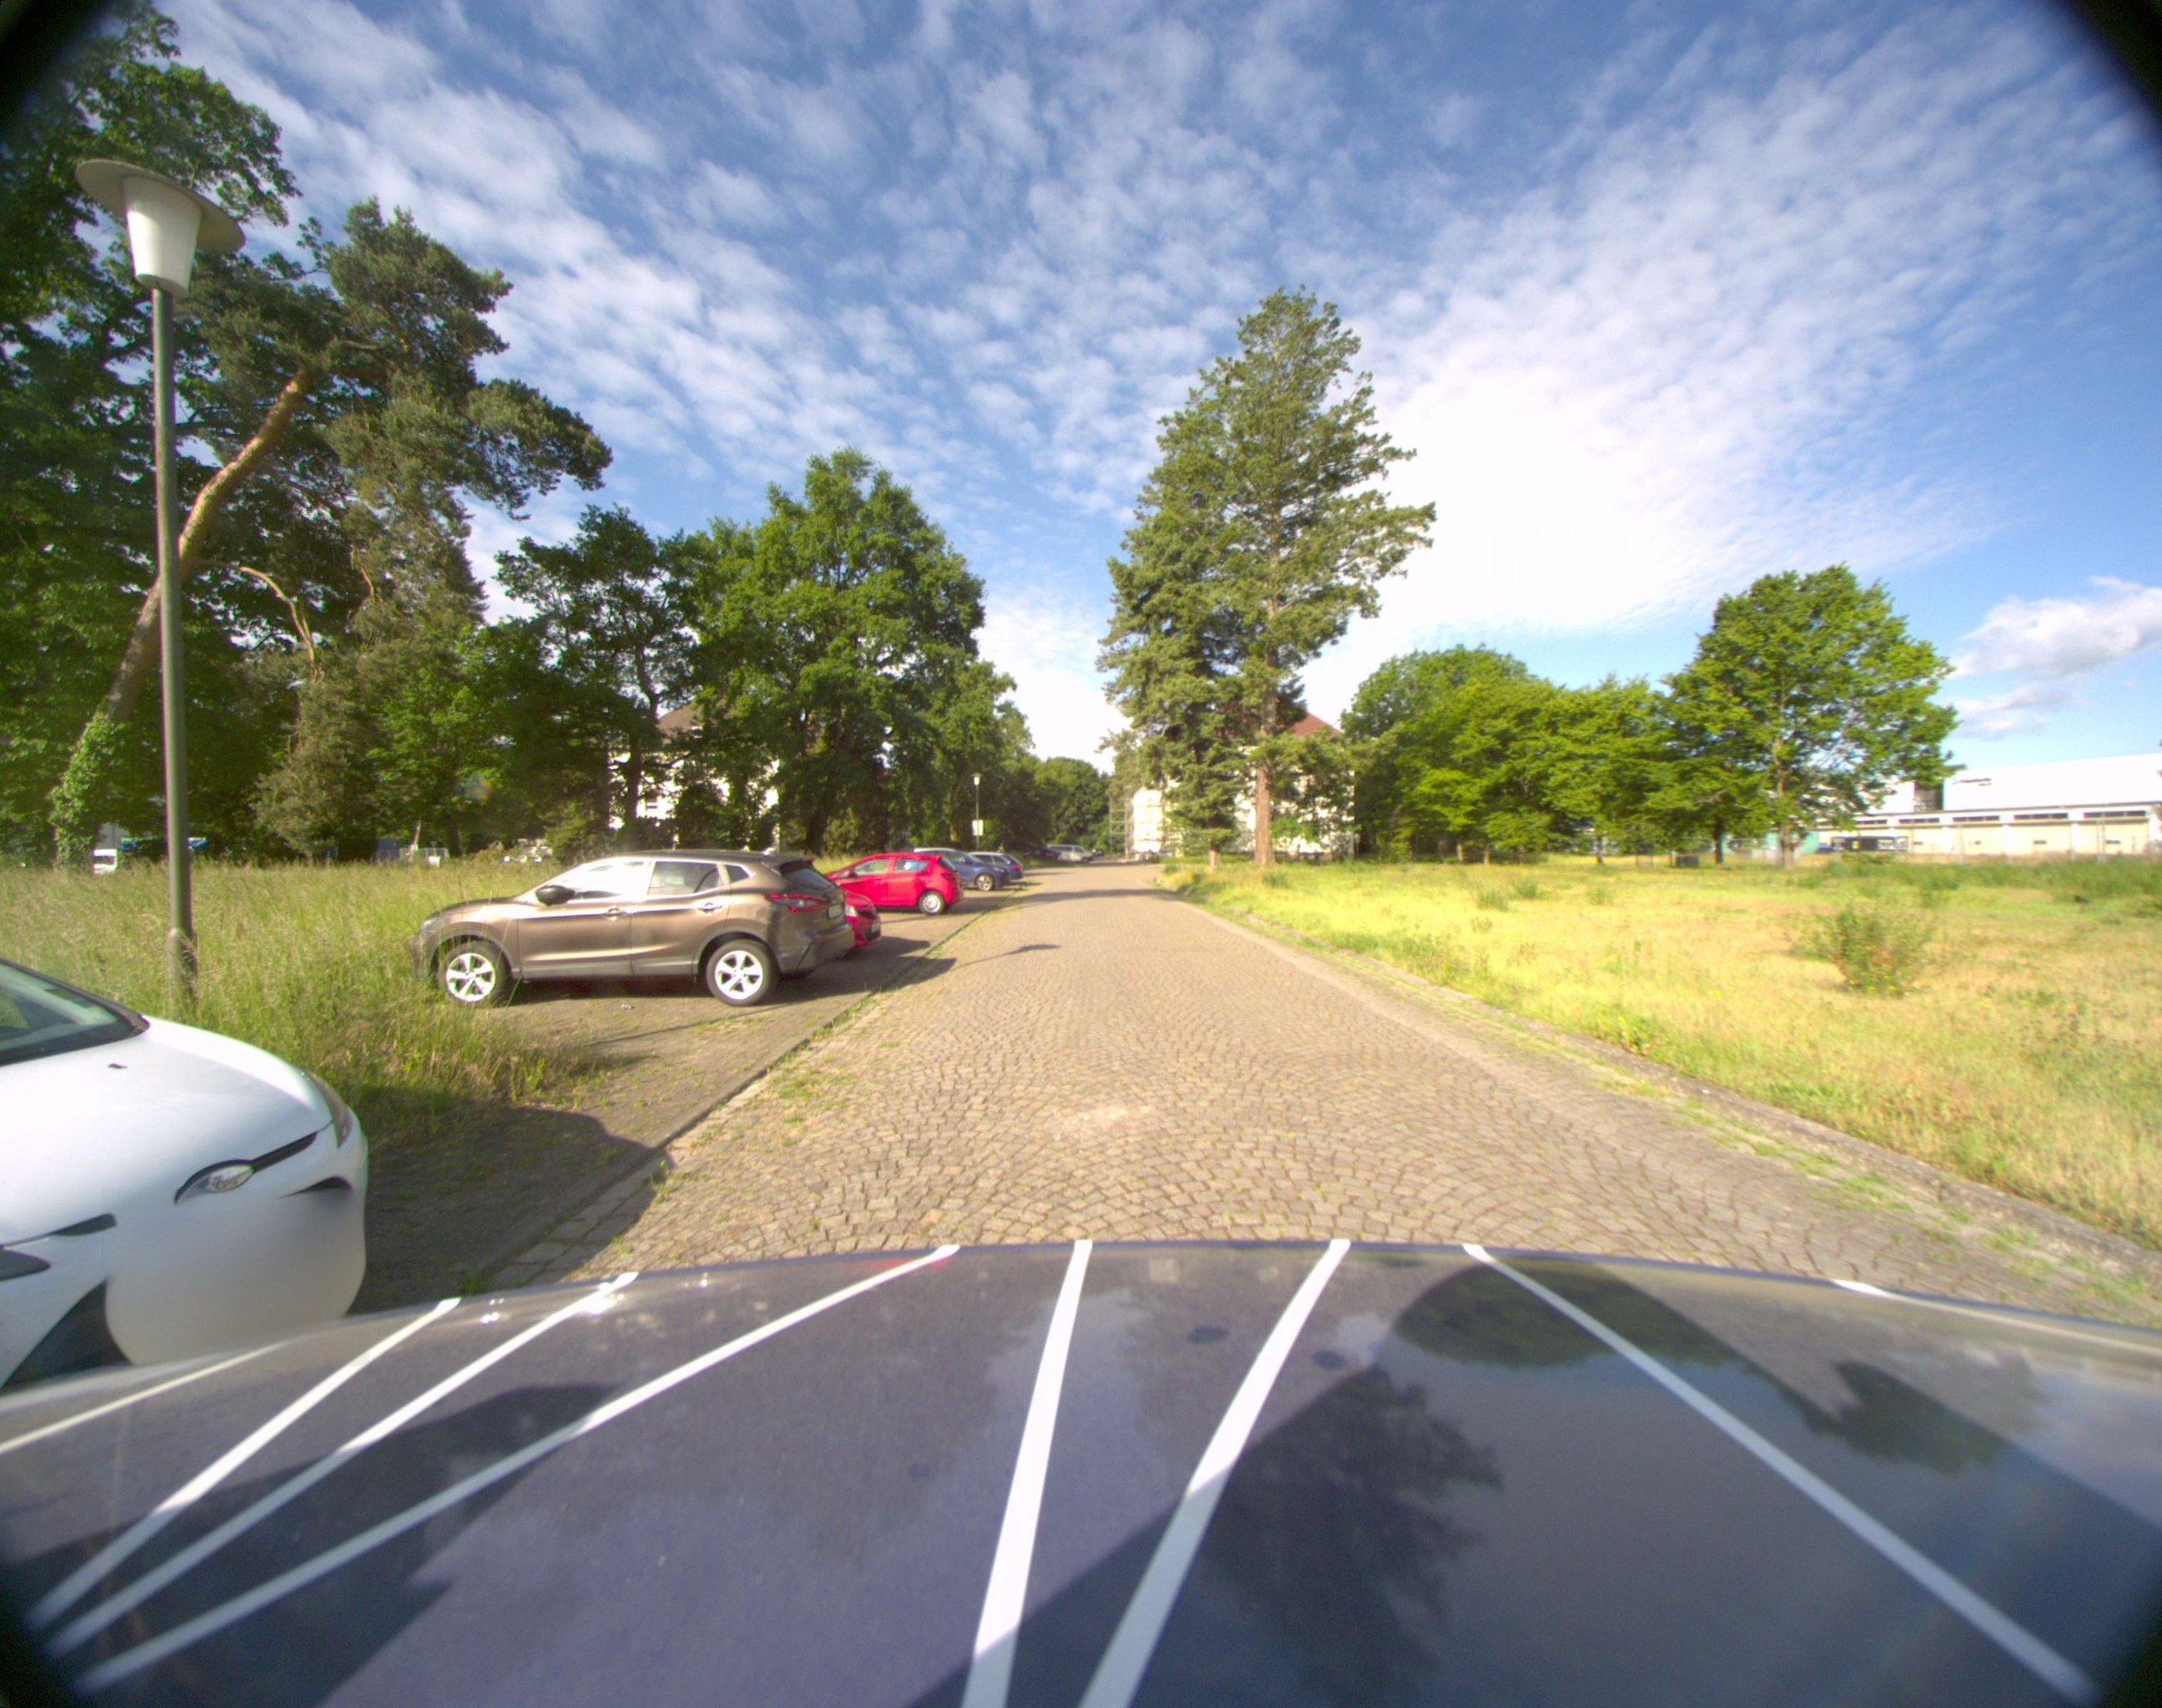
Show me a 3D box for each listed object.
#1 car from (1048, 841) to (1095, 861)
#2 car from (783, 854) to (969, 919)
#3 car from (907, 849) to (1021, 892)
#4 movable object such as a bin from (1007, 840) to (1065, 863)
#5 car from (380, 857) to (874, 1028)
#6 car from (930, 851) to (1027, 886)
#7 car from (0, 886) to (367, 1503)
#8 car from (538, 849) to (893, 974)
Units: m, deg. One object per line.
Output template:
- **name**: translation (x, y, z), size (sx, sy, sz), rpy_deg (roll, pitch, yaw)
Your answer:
- **car**: translation (-1.021, -0.335, 82.469), size (4.933, 2.002, 1.998), rpy_deg (1, 1, -6)
- **car**: translation (-4.941, 0.763, 18.780), size (4.098, 1.451, 1.852), rpy_deg (1, 0, -2)
- **car**: translation (-4.397, 0.606, 29.013), size (4.098, 1.548, 1.852), rpy_deg (1, 0, -2)
- **movable object such as a bin**: translation (-4.069, -0.240, 69.536), size (4.866, 2.002, 2.002), rpy_deg (-1, 1, 13)
- **car**: translation (-4.656, 0.861, 8.388), size (4.237, 1.589, 1.934), rpy_deg (0, 2, -3)
- **car**: translation (-4.482, 0.631, 33.694), size (4.098, 1.415, 1.784), rpy_deg (1, 0, -2)
- **car**: translation (-5.071, 0.912, 2.058), size (4.409, 1.568, 1.939), rpy_deg (1, 1, -1)
- **car**: translation (-5.085, 0.771, 11.087), size (4.237, 1.589, 1.934), rpy_deg (1, 2, -3)
